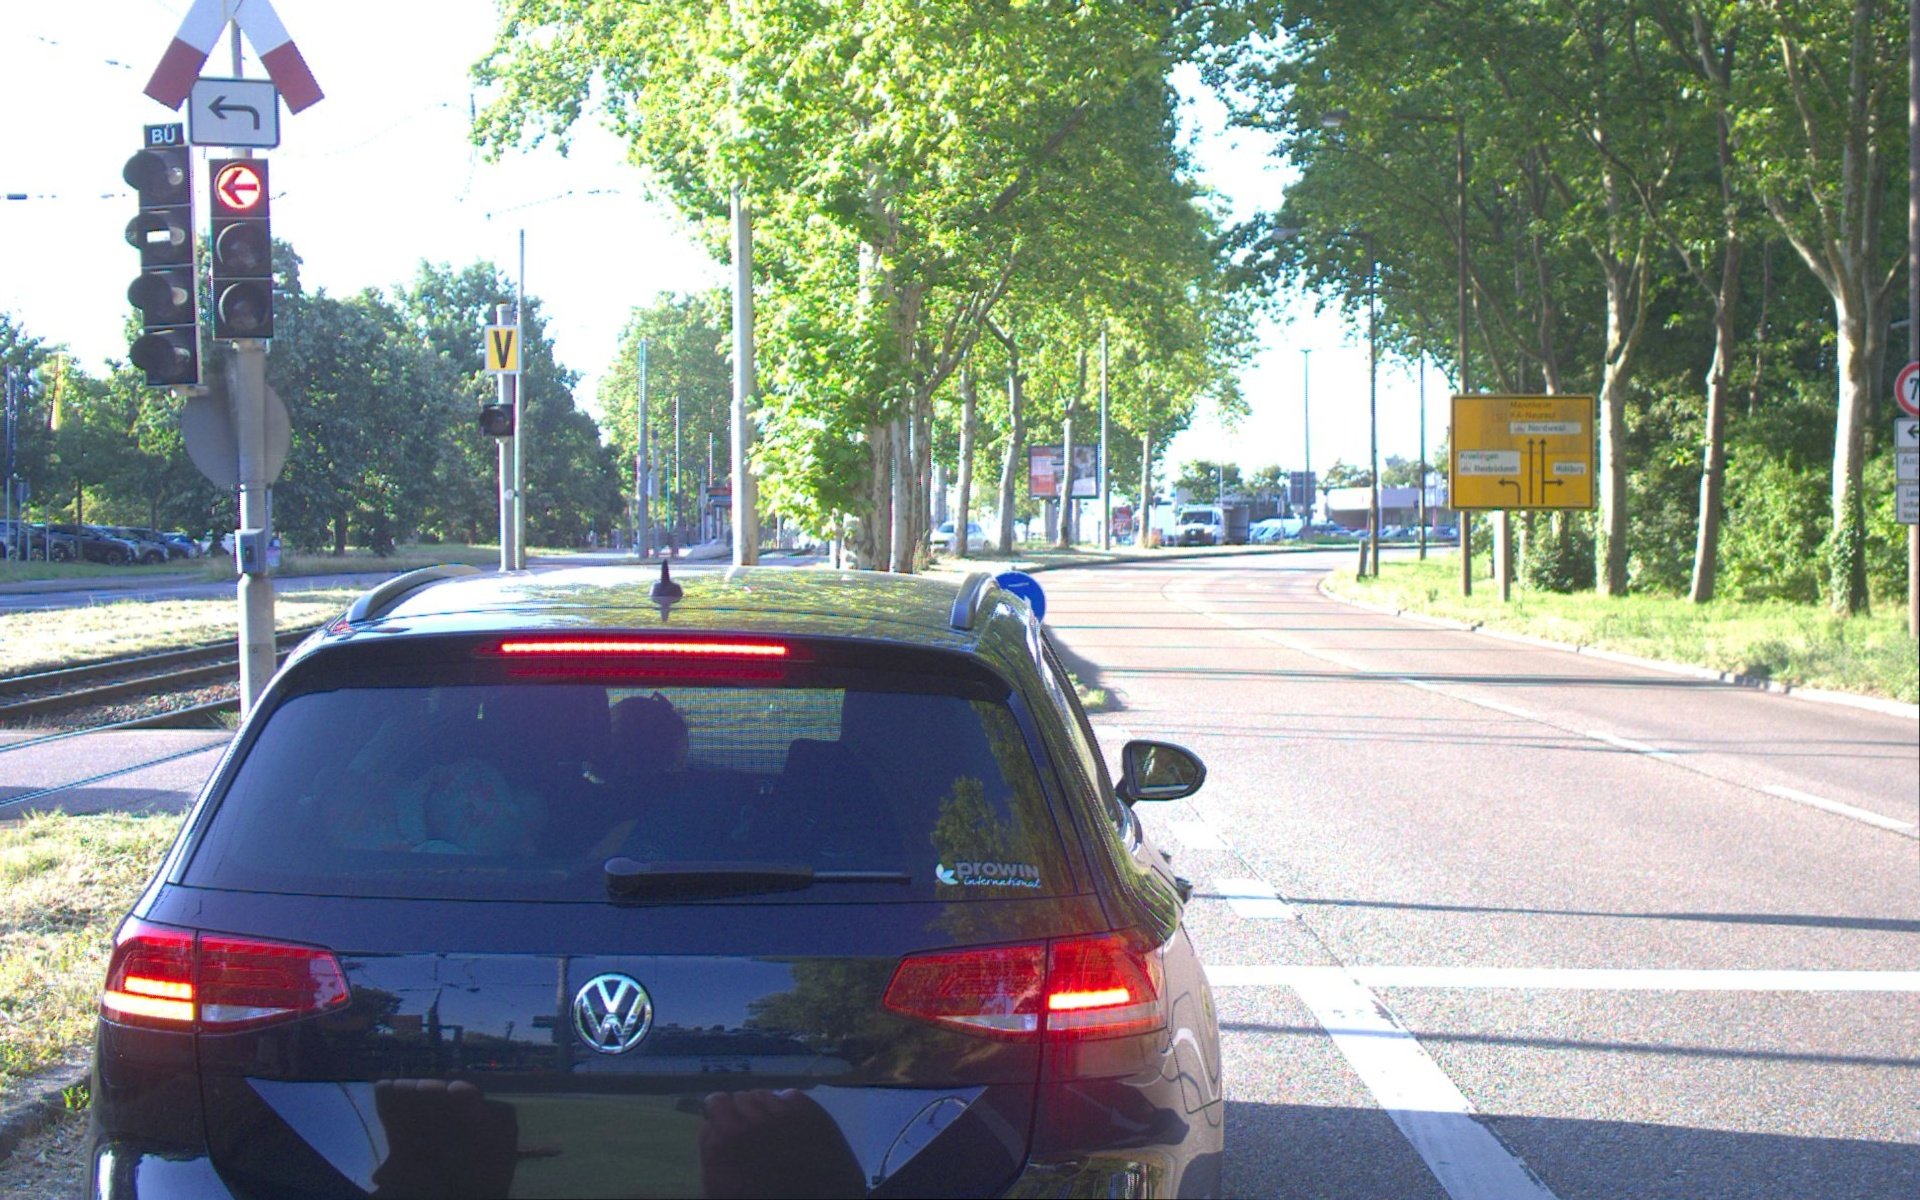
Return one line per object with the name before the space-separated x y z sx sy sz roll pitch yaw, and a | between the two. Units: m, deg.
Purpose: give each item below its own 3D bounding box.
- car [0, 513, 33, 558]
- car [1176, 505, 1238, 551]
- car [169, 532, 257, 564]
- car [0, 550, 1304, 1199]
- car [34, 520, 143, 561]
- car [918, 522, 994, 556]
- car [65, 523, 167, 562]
car | -35.911 -2.359 125.008 3.986 1.615 1.744 1 1 -5
car | 13.487 -3.924 187.234 2.097 2.453 5.848 1 1 17
car | -36.502 -2.542 167.989 3.986 1.550 1.744 1 1 -4
car | -0.476 0.655 6.417 1.795 1.459 3.583 1 1 -1
car | -35.160 -2.410 138.757 3.986 1.615 1.744 1 1 -5
car | -0.157 -2.690 151.652 1.864 1.476 4.087 1 1 23
car | -35.819 -2.452 145.913 3.986 1.615 1.744 1 1 -5
